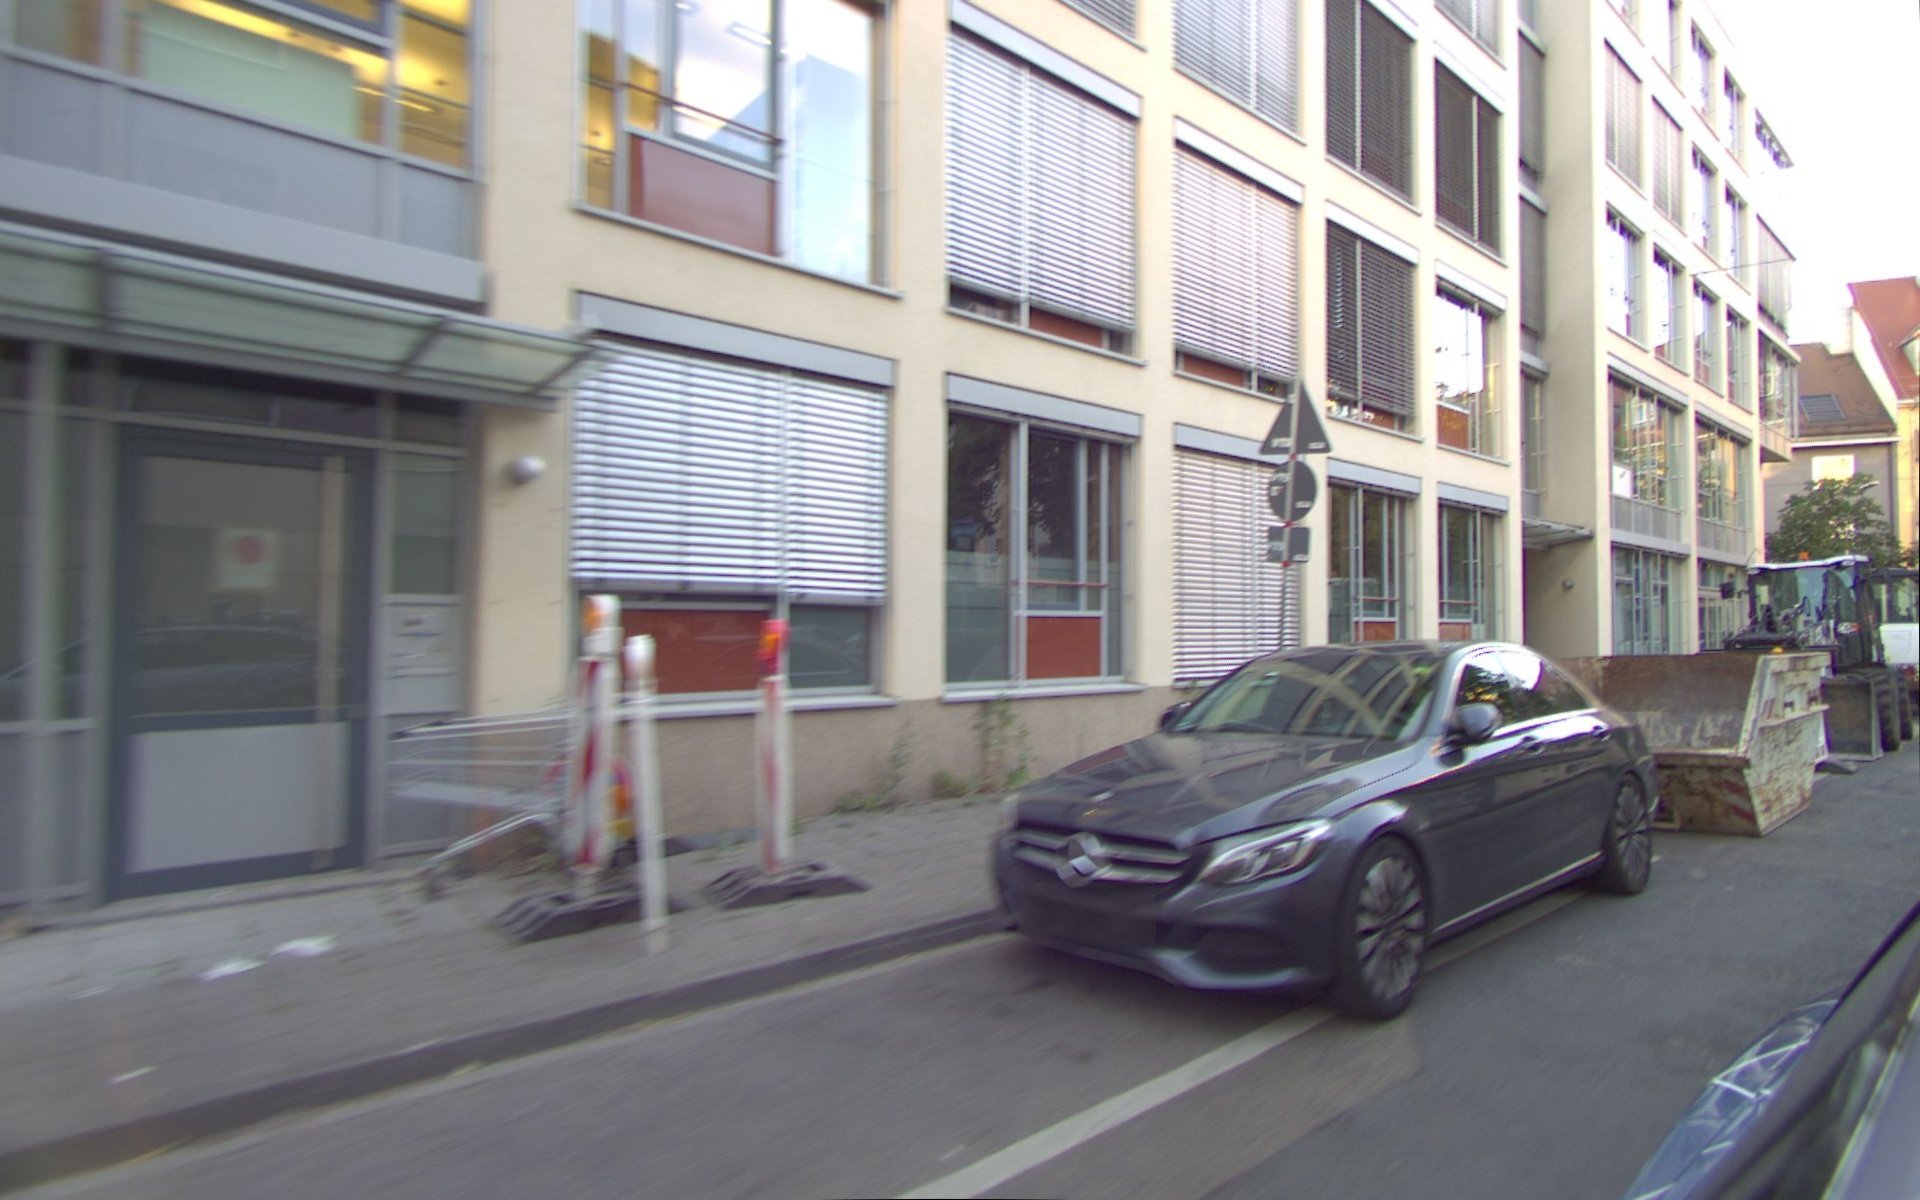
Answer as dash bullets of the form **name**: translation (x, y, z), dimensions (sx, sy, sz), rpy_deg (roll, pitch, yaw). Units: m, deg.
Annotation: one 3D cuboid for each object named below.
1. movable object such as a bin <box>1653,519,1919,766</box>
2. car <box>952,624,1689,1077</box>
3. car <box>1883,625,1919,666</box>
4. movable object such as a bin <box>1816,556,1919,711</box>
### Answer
- **movable object such as a bin**: translation (11.315, 0.520, 13.398), dimensions (5.445, 2.630, 2.170), rpy_deg (1, -2, -41)
- **car**: translation (2.170, 0.859, 5.308), dimensions (4.400, 1.424, 1.696), rpy_deg (2, -3, -41)
- **car**: translation (39.522, 1.848, 41.436), dimensions (1.729, 1.545, 3.329), rpy_deg (0, 0, 28)
- **movable object such as a bin**: translation (17.809, 0.616, 19.063), dimensions (4.036, 2.668, 1.800), rpy_deg (2, -2, -39)
